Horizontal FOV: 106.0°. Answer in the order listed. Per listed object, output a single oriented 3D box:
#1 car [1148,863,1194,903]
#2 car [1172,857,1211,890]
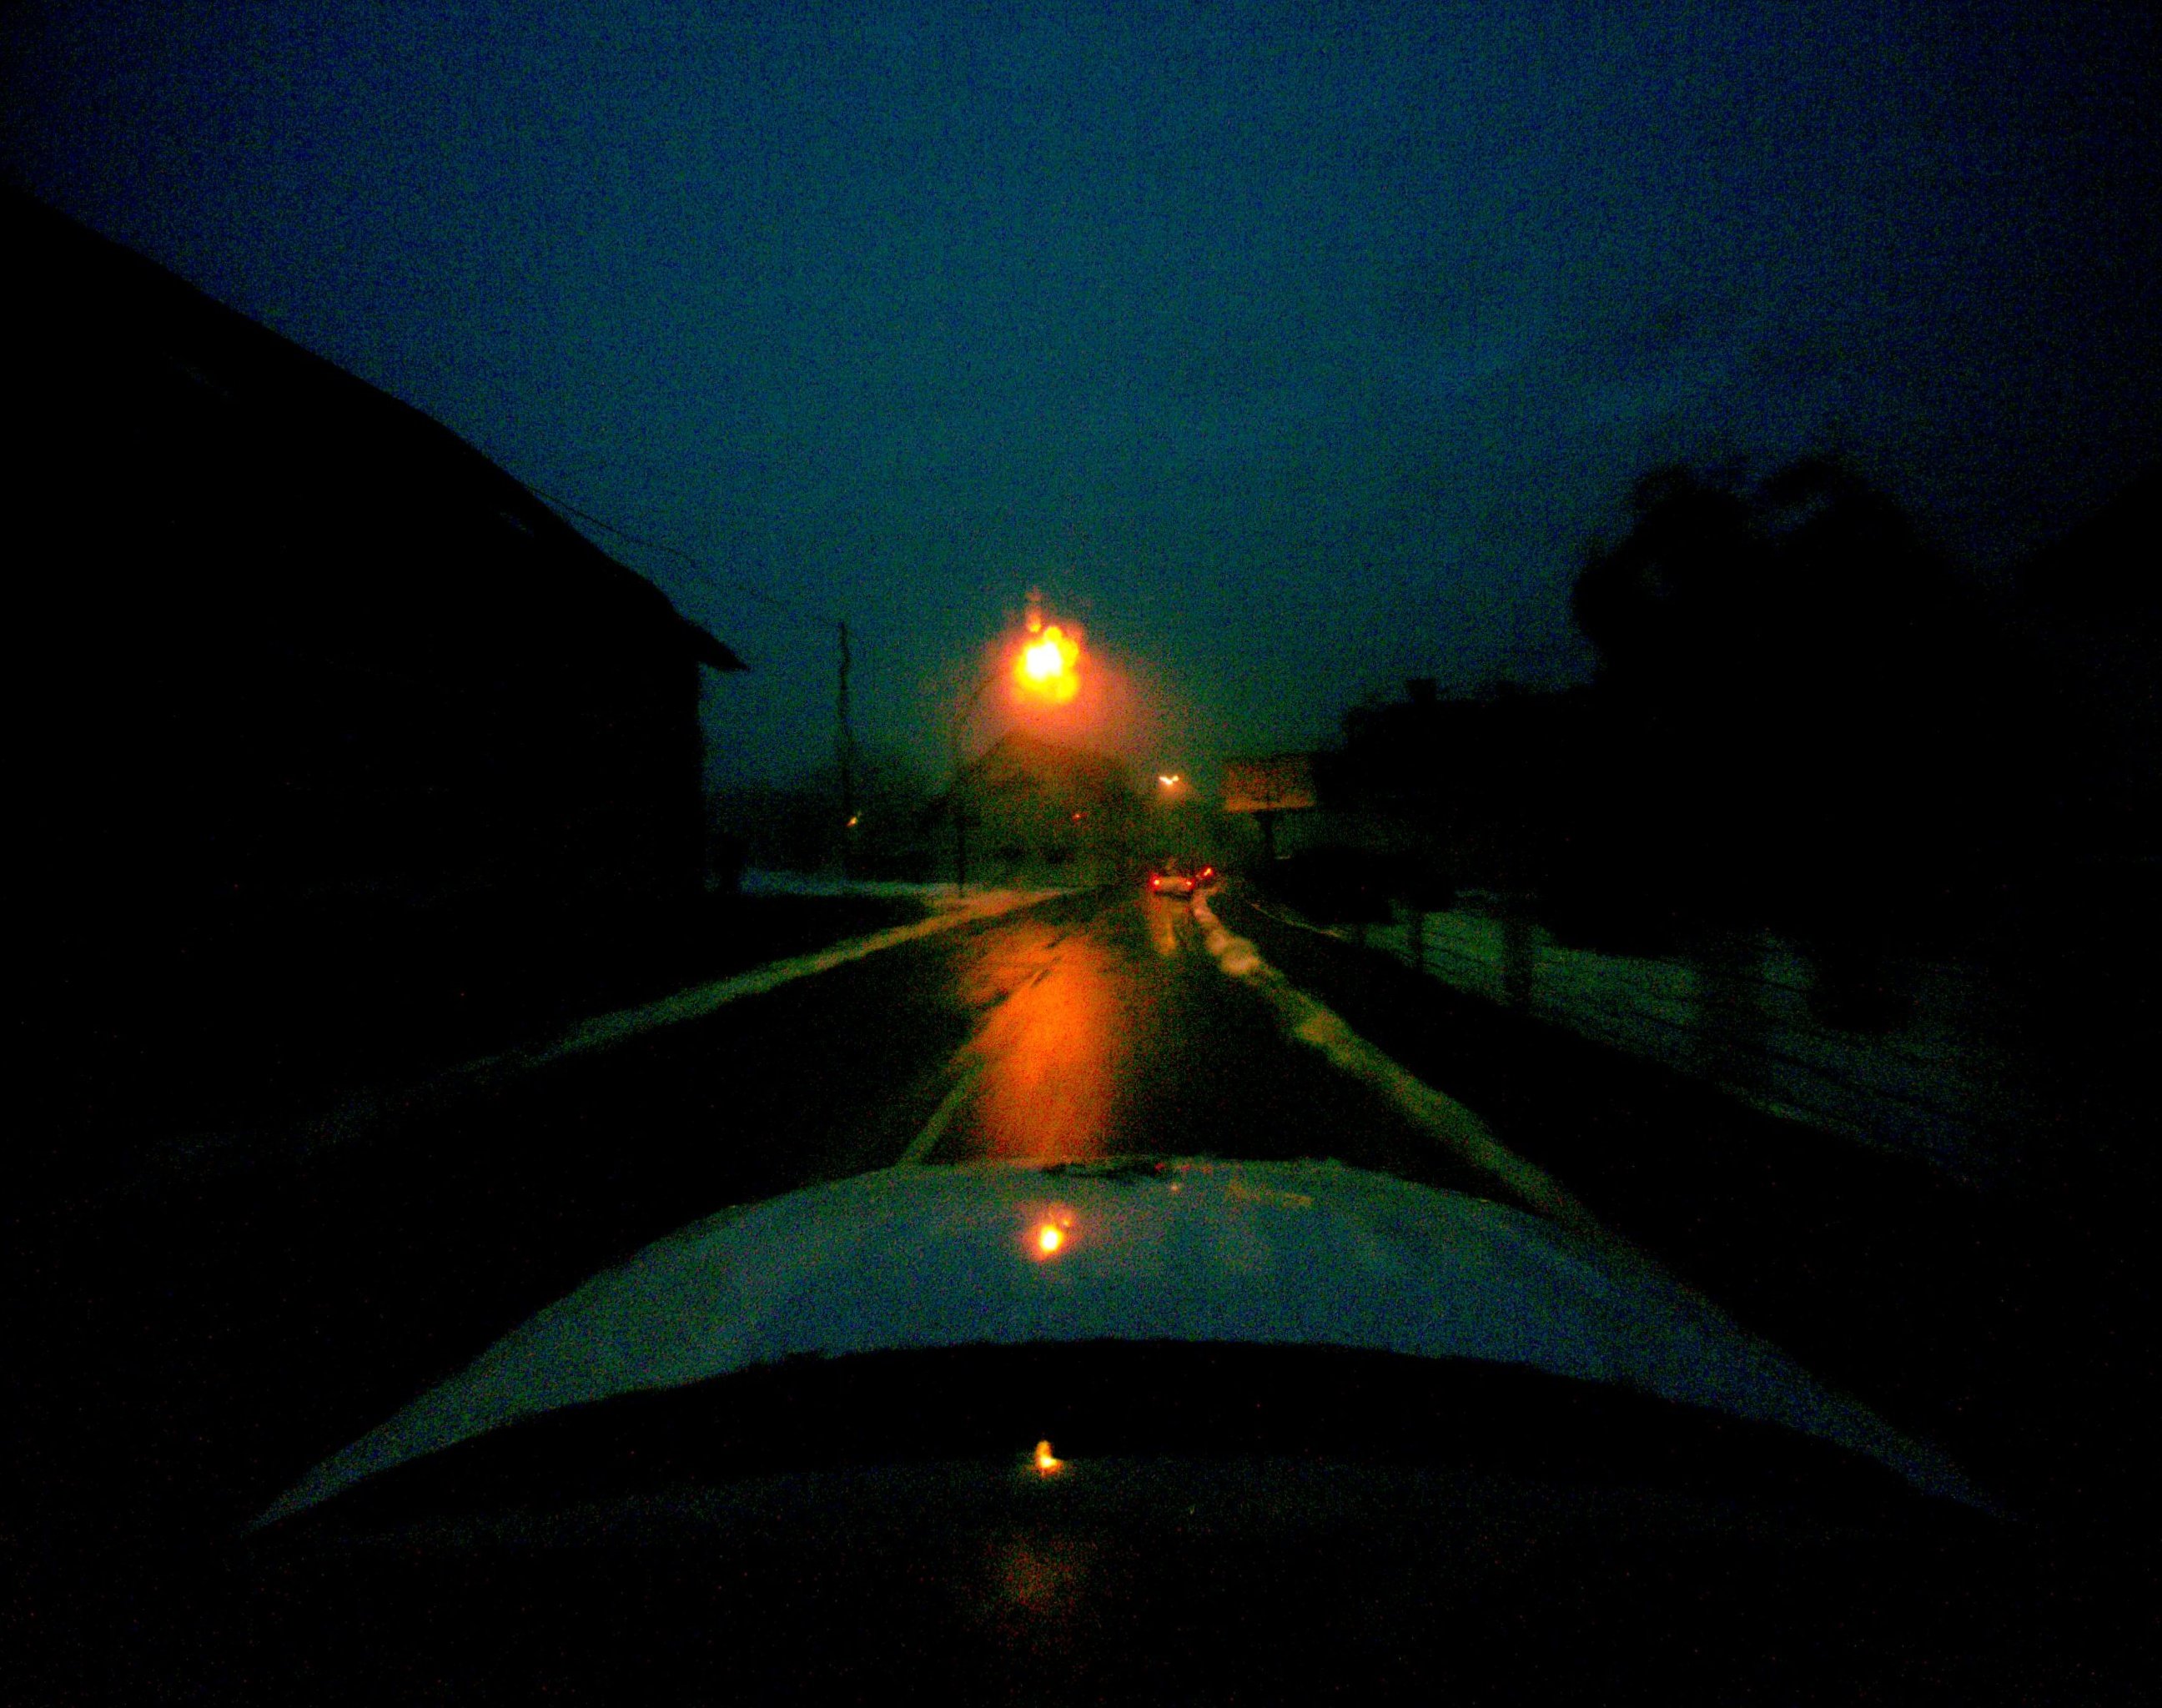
[{"bbox_3d":[4.261,1.333,38.538,1.983,1.508,4.008,-4,1,6],"label":"car"},{"bbox_3d":[7.481,1.280,55.033,1.979,1.837,4.017,-4,1,15],"label":"car"}]
